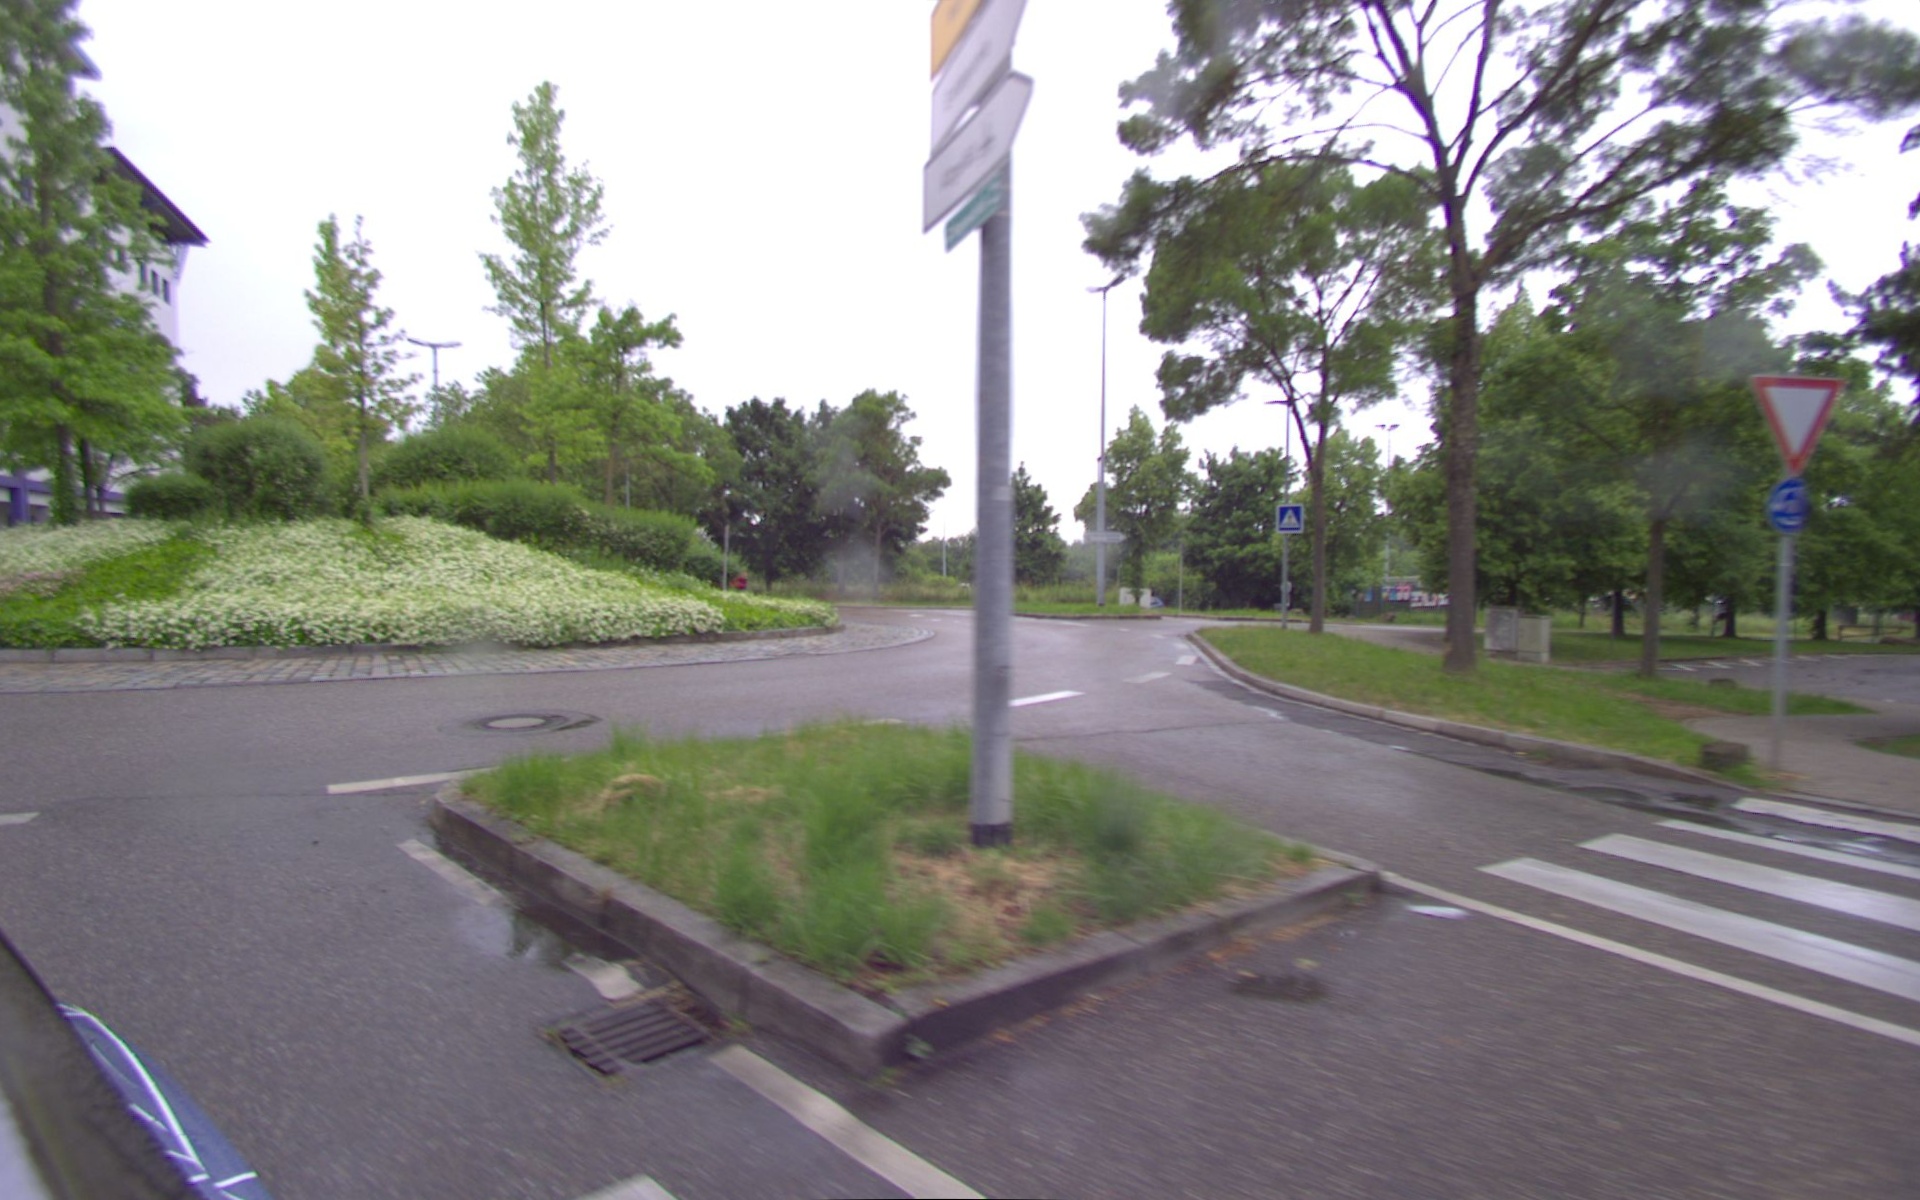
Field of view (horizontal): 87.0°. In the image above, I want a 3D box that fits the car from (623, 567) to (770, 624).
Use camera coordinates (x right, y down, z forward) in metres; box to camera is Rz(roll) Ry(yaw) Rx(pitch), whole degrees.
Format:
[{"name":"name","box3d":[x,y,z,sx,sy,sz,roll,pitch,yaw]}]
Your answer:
[{"name":"car","box3d":[-9.176,-0.222,35.096,5.092,1.808,1.979,1,2,31]}]
